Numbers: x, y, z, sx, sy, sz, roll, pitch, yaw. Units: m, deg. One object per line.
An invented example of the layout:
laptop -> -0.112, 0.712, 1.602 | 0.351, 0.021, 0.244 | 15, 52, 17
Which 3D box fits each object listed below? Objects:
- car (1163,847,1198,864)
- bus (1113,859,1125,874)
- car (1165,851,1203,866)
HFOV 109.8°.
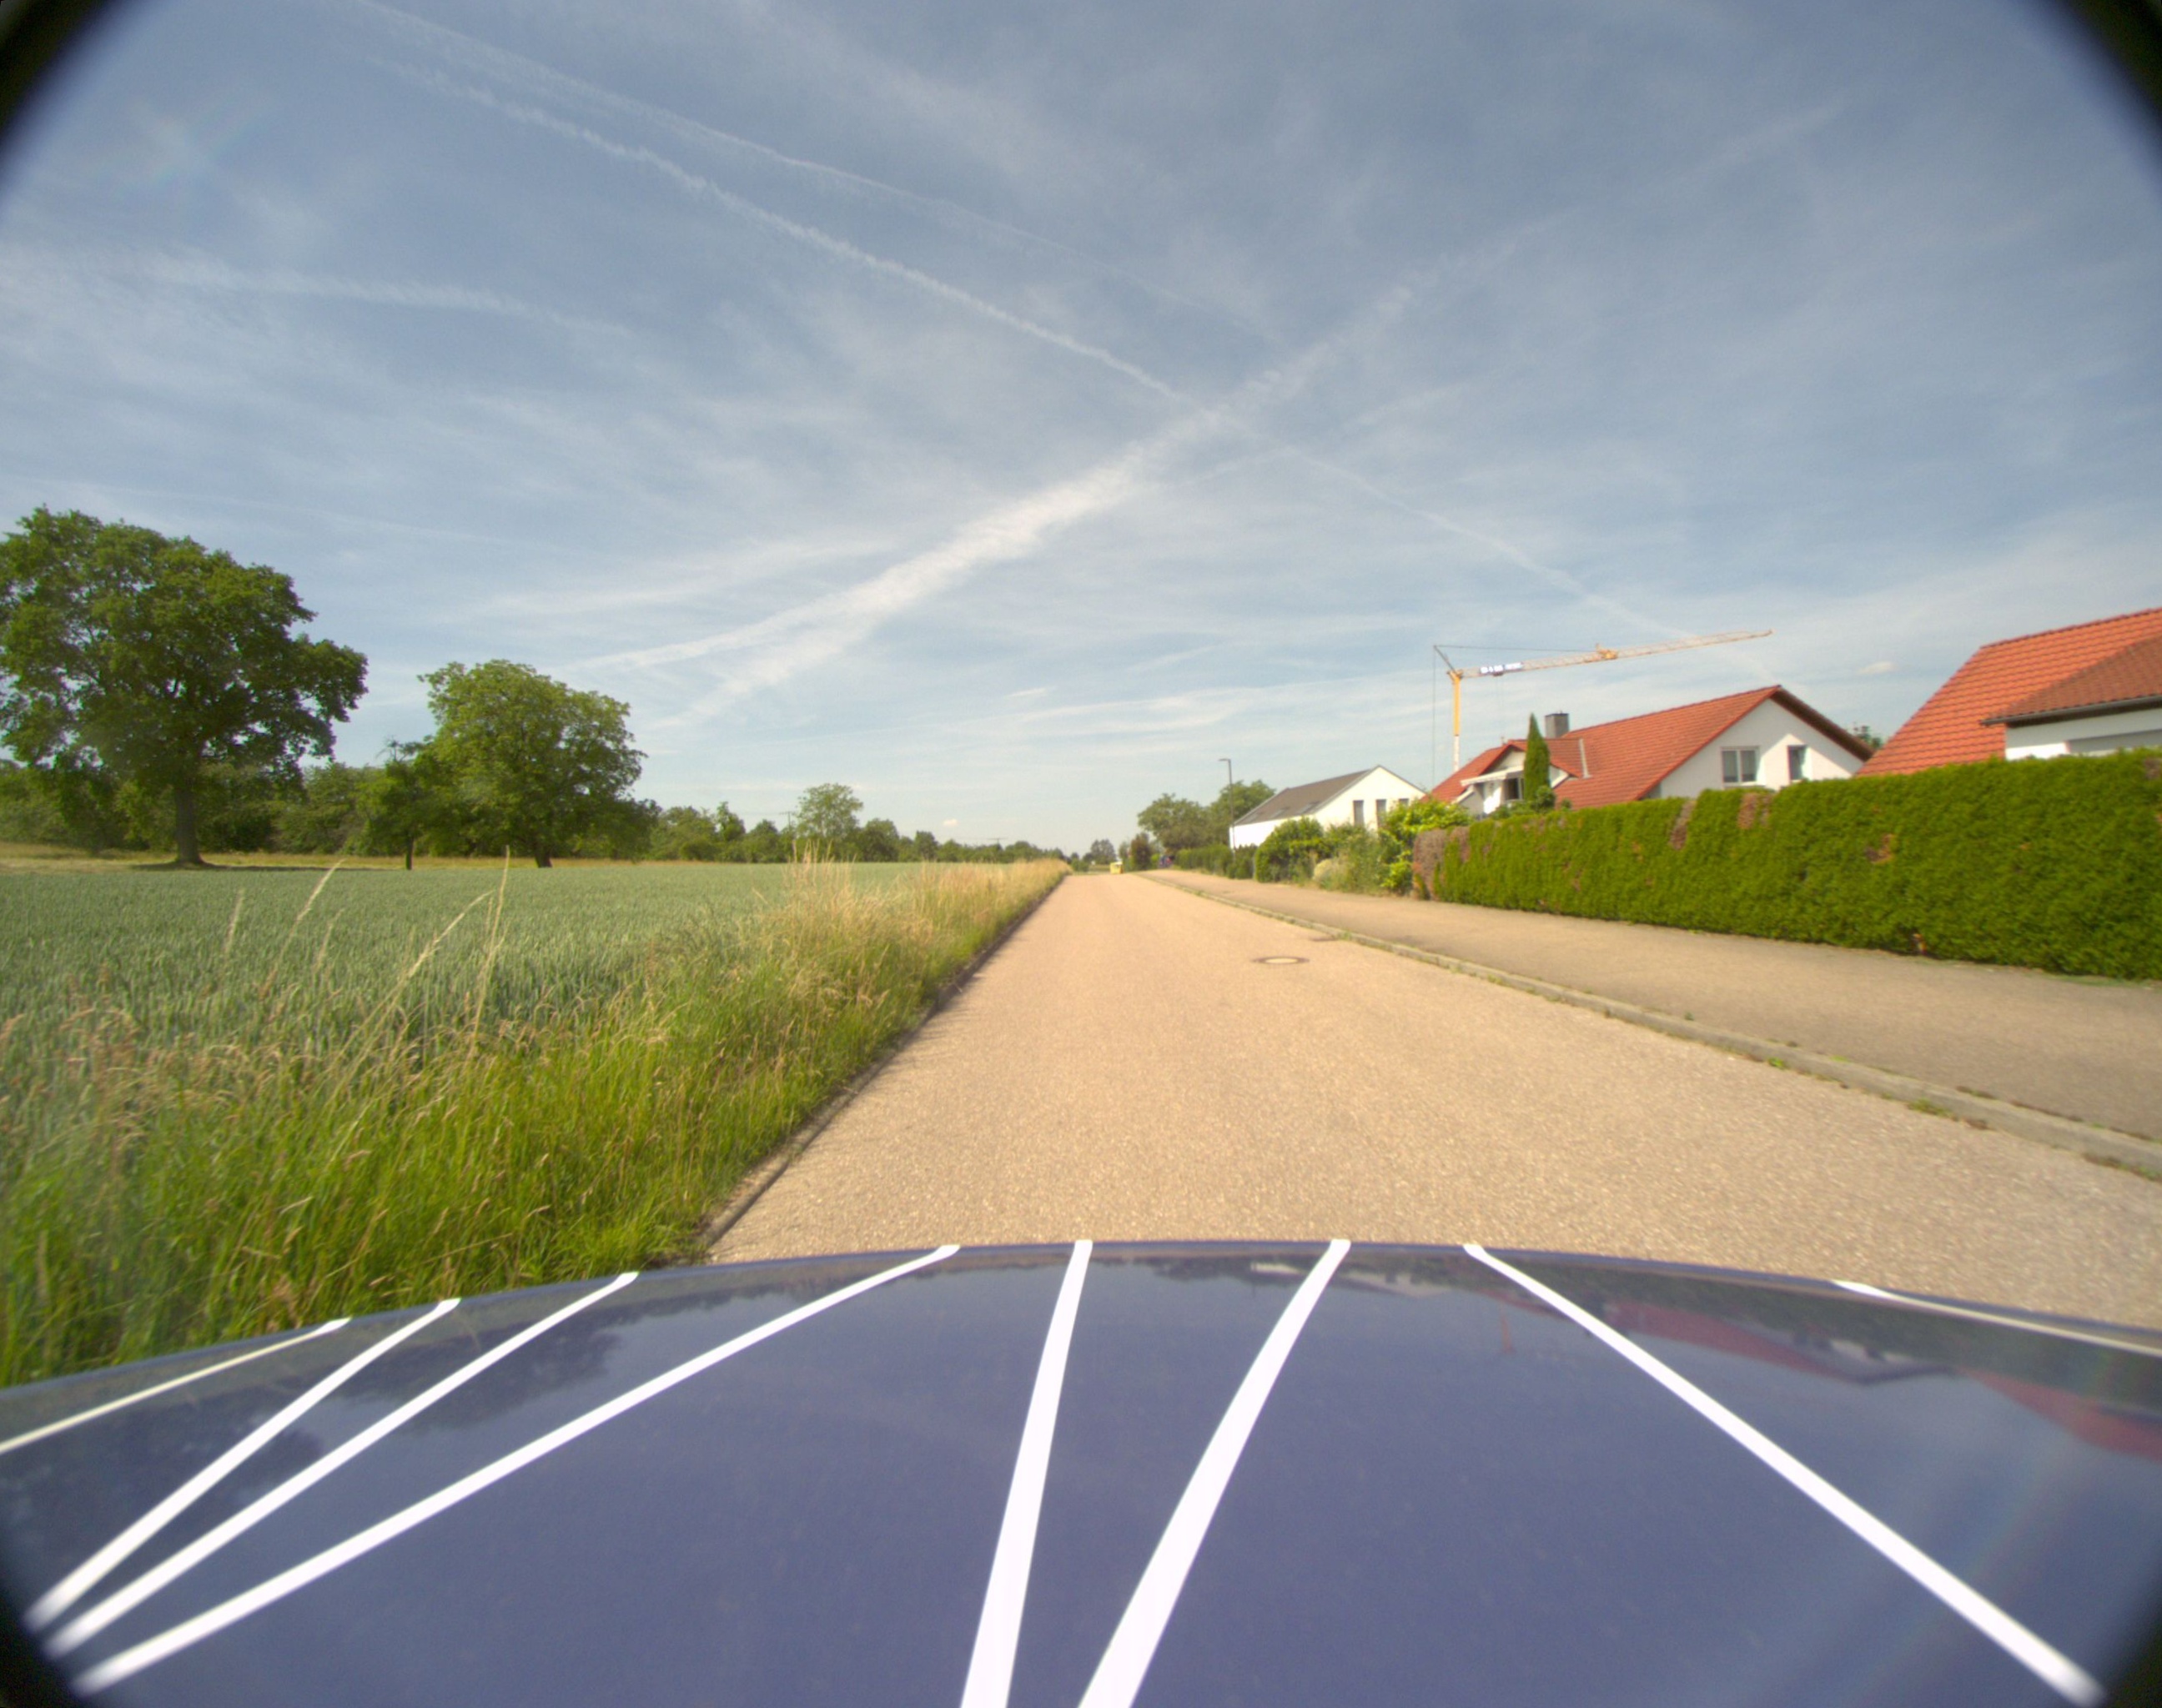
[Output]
car -> 11.683, 0.177, 89.308 | 3.885, 1.802, 1.801 | -4, 0, 5
bus -> 10.211, 3.281, 202.004 | 3.066, 3.557, 9.456 | -2, 0, 3
car -> 10.961, 0.491, 80.919 | 3.885, 1.314, 1.801 | -3, 0, 5
